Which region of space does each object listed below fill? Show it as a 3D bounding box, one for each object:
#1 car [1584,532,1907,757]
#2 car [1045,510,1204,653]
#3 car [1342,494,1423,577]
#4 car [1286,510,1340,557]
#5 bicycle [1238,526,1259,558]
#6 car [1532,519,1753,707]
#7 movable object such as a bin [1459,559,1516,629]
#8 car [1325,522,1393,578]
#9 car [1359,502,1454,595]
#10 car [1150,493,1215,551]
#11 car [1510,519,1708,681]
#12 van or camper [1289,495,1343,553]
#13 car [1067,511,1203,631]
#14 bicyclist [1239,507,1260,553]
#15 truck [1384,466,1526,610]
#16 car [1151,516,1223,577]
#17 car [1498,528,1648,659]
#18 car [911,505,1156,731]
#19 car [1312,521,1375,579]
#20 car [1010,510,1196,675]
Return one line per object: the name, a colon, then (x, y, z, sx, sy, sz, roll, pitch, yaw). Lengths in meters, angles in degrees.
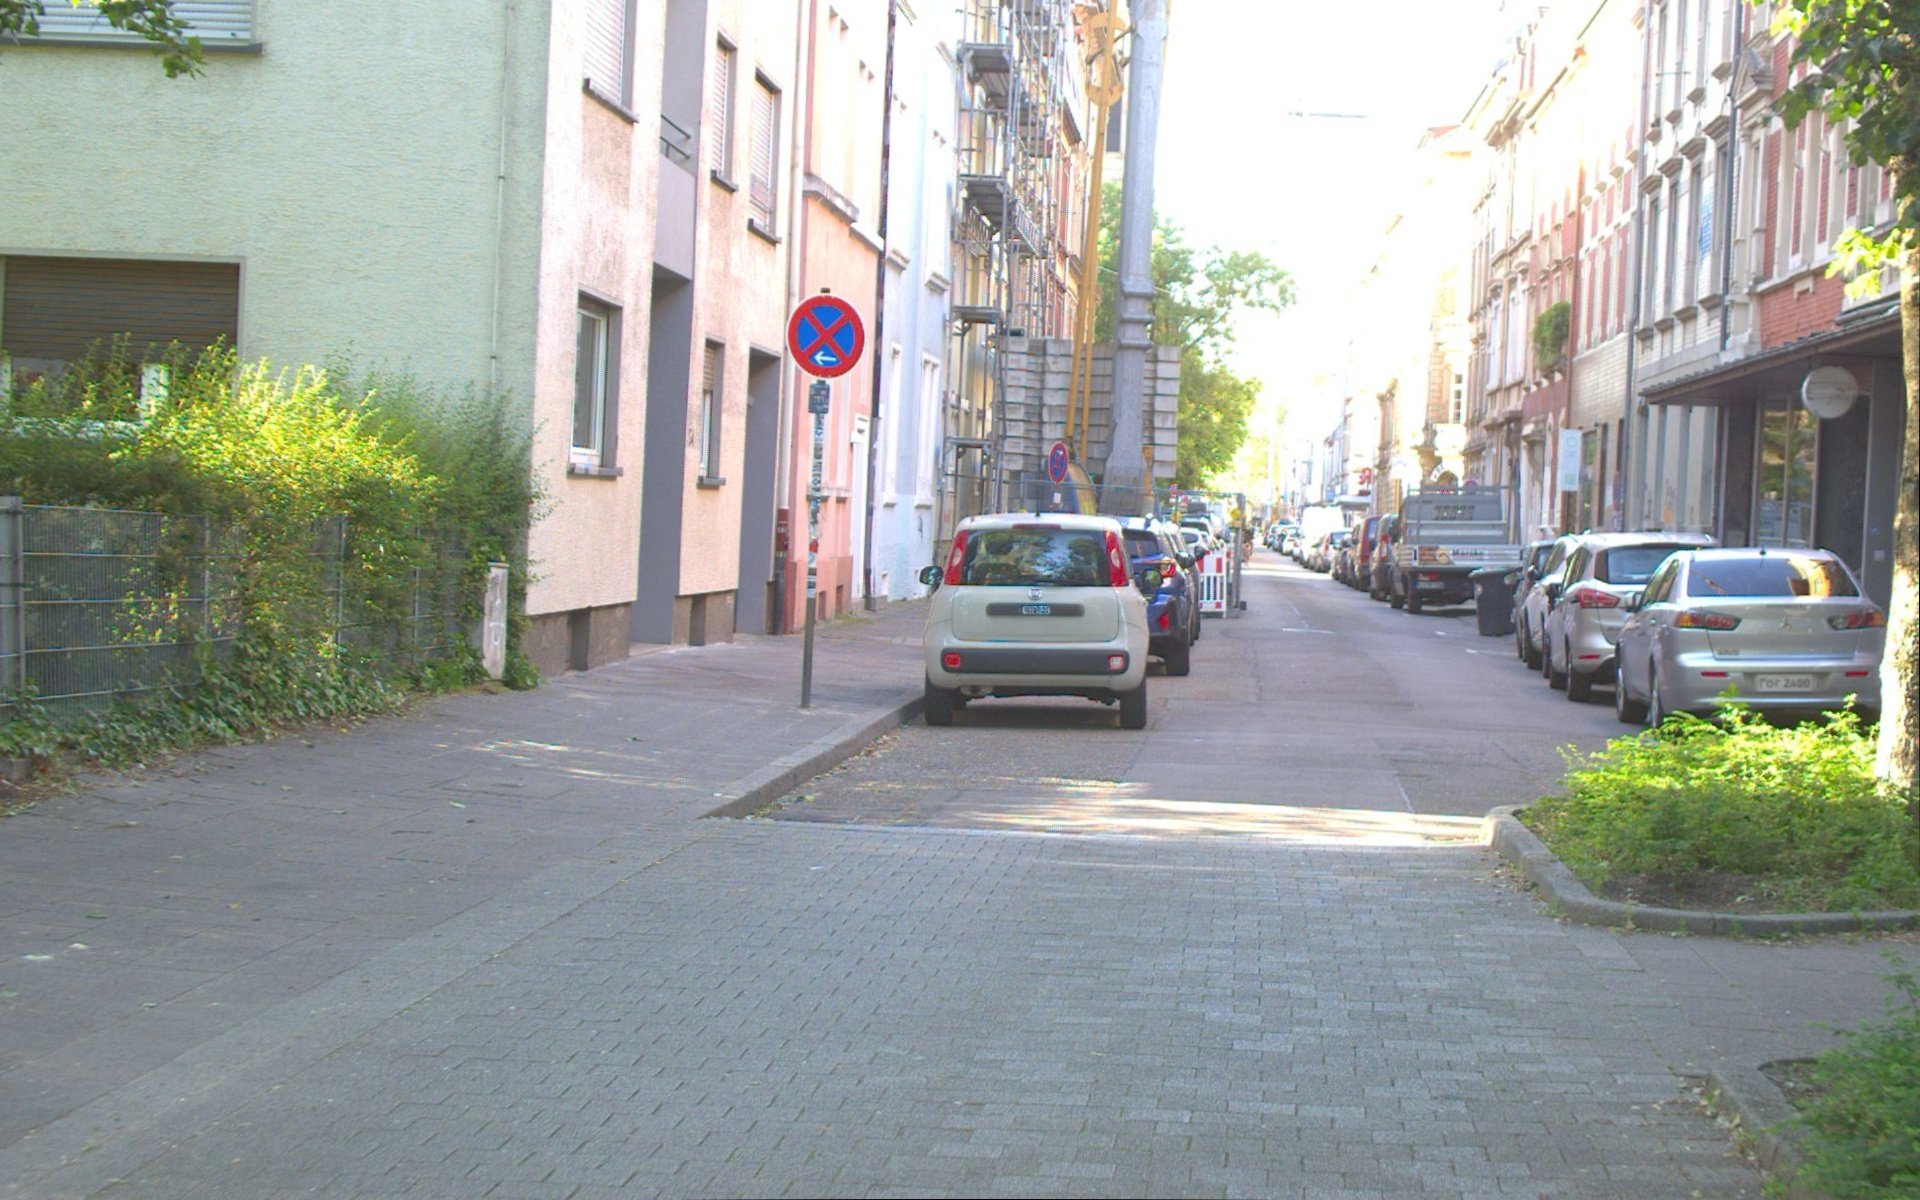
car: (6.128, 0.283, 27.293, 1.721, 1.557, 4.398, 3, 1, 3)
car: (1.972, -0.250, 40.212, 1.675, 1.506, 4.414, 2, 1, 4)
car: (10.941, -1.680, 89.211, 1.675, 2.024, 3.869, 2, 1, 2)
car: (14.514, -2.738, 141.463, 1.994, 1.842, 4.000, 2, 1, 3)
bicycle: (11.394, -2.298, 135.832, 0.725, 1.182, 2.042, 4, 2, 5)
car: (6.586, 0.081, 33.509, 1.640, 1.650, 3.869, 3, 1, 5)
movable object such as a bin: (8.300, -0.099, 54.078, 0.795, 1.052, 0.660, 3, 1, 5)
car: (11.844, -1.495, 102.238, 1.675, 1.565, 3.869, 2, 1, 2)
car: (9.942, -1.156, 76.764, 1.675, 1.956, 4.109, 2, 1, 2)
car: (6.309, -2.216, 97.780, 1.675, 1.565, 3.869, 2, 1, 2)
car: (7.301, -0.046, 39.018, 1.747, 1.670, 4.340, 2, 1, 6)
van or camper: (16.065, -3.438, 155.283, 1.993, 2.499, 4.202, 2, 1, 0)
car: (2.421, -0.419, 46.584, 1.675, 1.472, 4.607, 2, 1, 4)
bicyclist: (11.423, -2.760, 135.813, 0.730, 1.755, 0.835, 3, 2, 5)
truck: (9.484, -1.218, 66.259, 2.190, 2.598, 5.234, 2, 1, 3)
car: (5.754, -1.371, 87.632, 1.675, 1.440, 3.869, 2, 1, 2)
car: (7.858, -0.119, 44.312, 1.597, 1.555, 3.813, 2, 1, 6)
car: (0.594, 0.085, 26.066, 1.675, 1.534, 3.869, 2, 1, 2)
car: (14.145, -1.877, 126.997, 1.994, 2.006, 4.000, 2, 2, 3)
car: (1.444, -0.117, 34.850, 1.729, 1.534, 4.377, 1, 1, 2)
